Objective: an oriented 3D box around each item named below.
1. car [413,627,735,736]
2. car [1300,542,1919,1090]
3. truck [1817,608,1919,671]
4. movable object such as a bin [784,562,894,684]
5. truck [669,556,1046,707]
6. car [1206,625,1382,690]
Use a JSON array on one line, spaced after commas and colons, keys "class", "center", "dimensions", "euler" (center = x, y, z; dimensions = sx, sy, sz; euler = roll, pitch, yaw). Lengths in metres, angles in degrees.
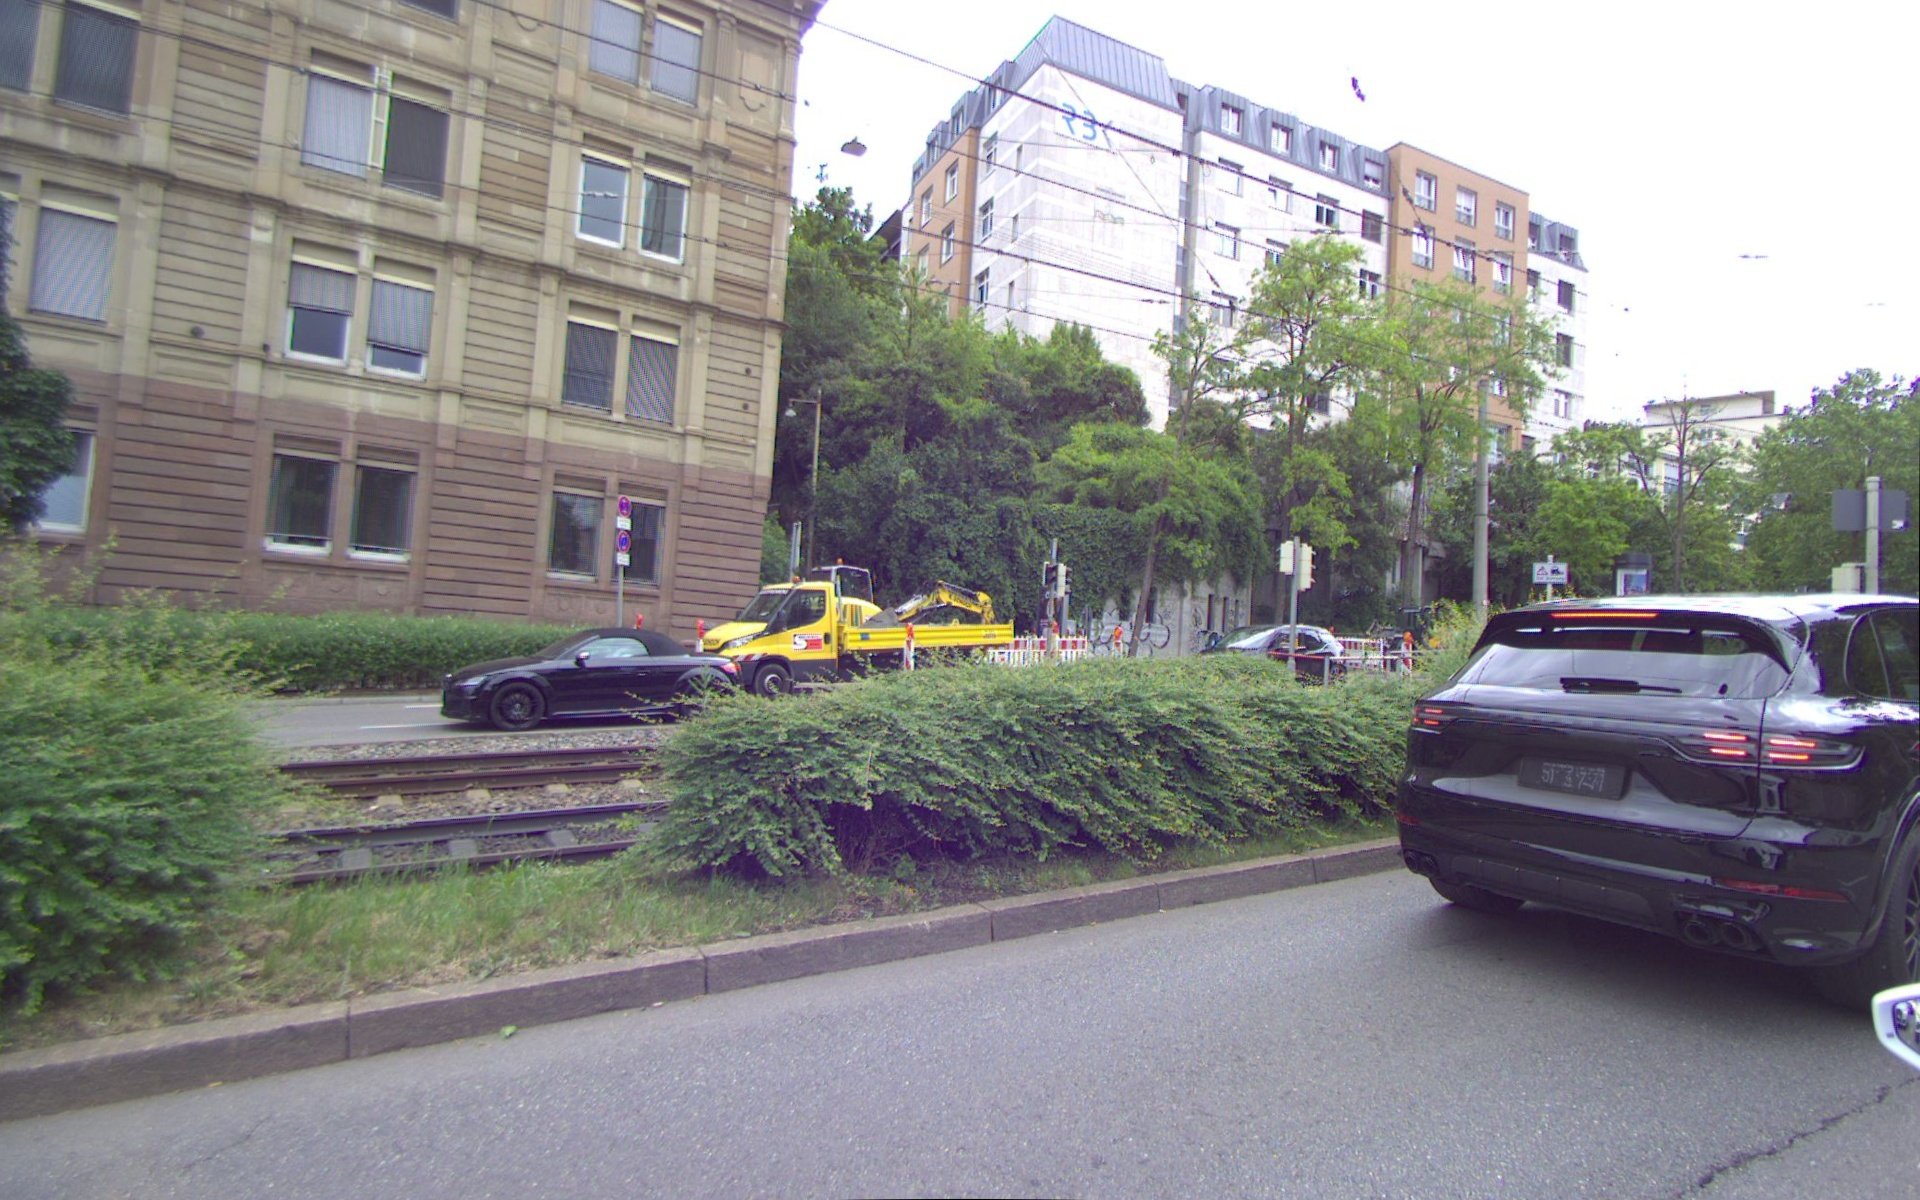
[{"class": "car", "center": [-5.444, 1.073, 14.345], "dimensions": [4.024, 1.340, 1.729], "euler": [1, -1, -34]}, {"class": "car", "center": [4.202, 0.811, 5.243], "dimensions": [4.727, 1.707, 2.017], "euler": [4, -2, -31]}, {"class": "truck", "center": [36.213, 1.587, 39.067], "dimensions": [5.961, 2.198, 2.411], "euler": [3, 0, -29]}, {"class": "movable object such as a bin", "center": [-3.042, 0.600, 25.192], "dimensions": [2.010, 2.875, 1.980], "euler": [2, -2, -36]}, {"class": "truck", "center": [-1.930, 0.720, 20.555], "dimensions": [7.087, 2.542, 2.897], "euler": [5, -1, -36]}, {"class": "car", "center": [7.635, 1.304, 22.848], "dimensions": [4.025, 1.340, 1.729], "euler": [3, -2, -34]}]
